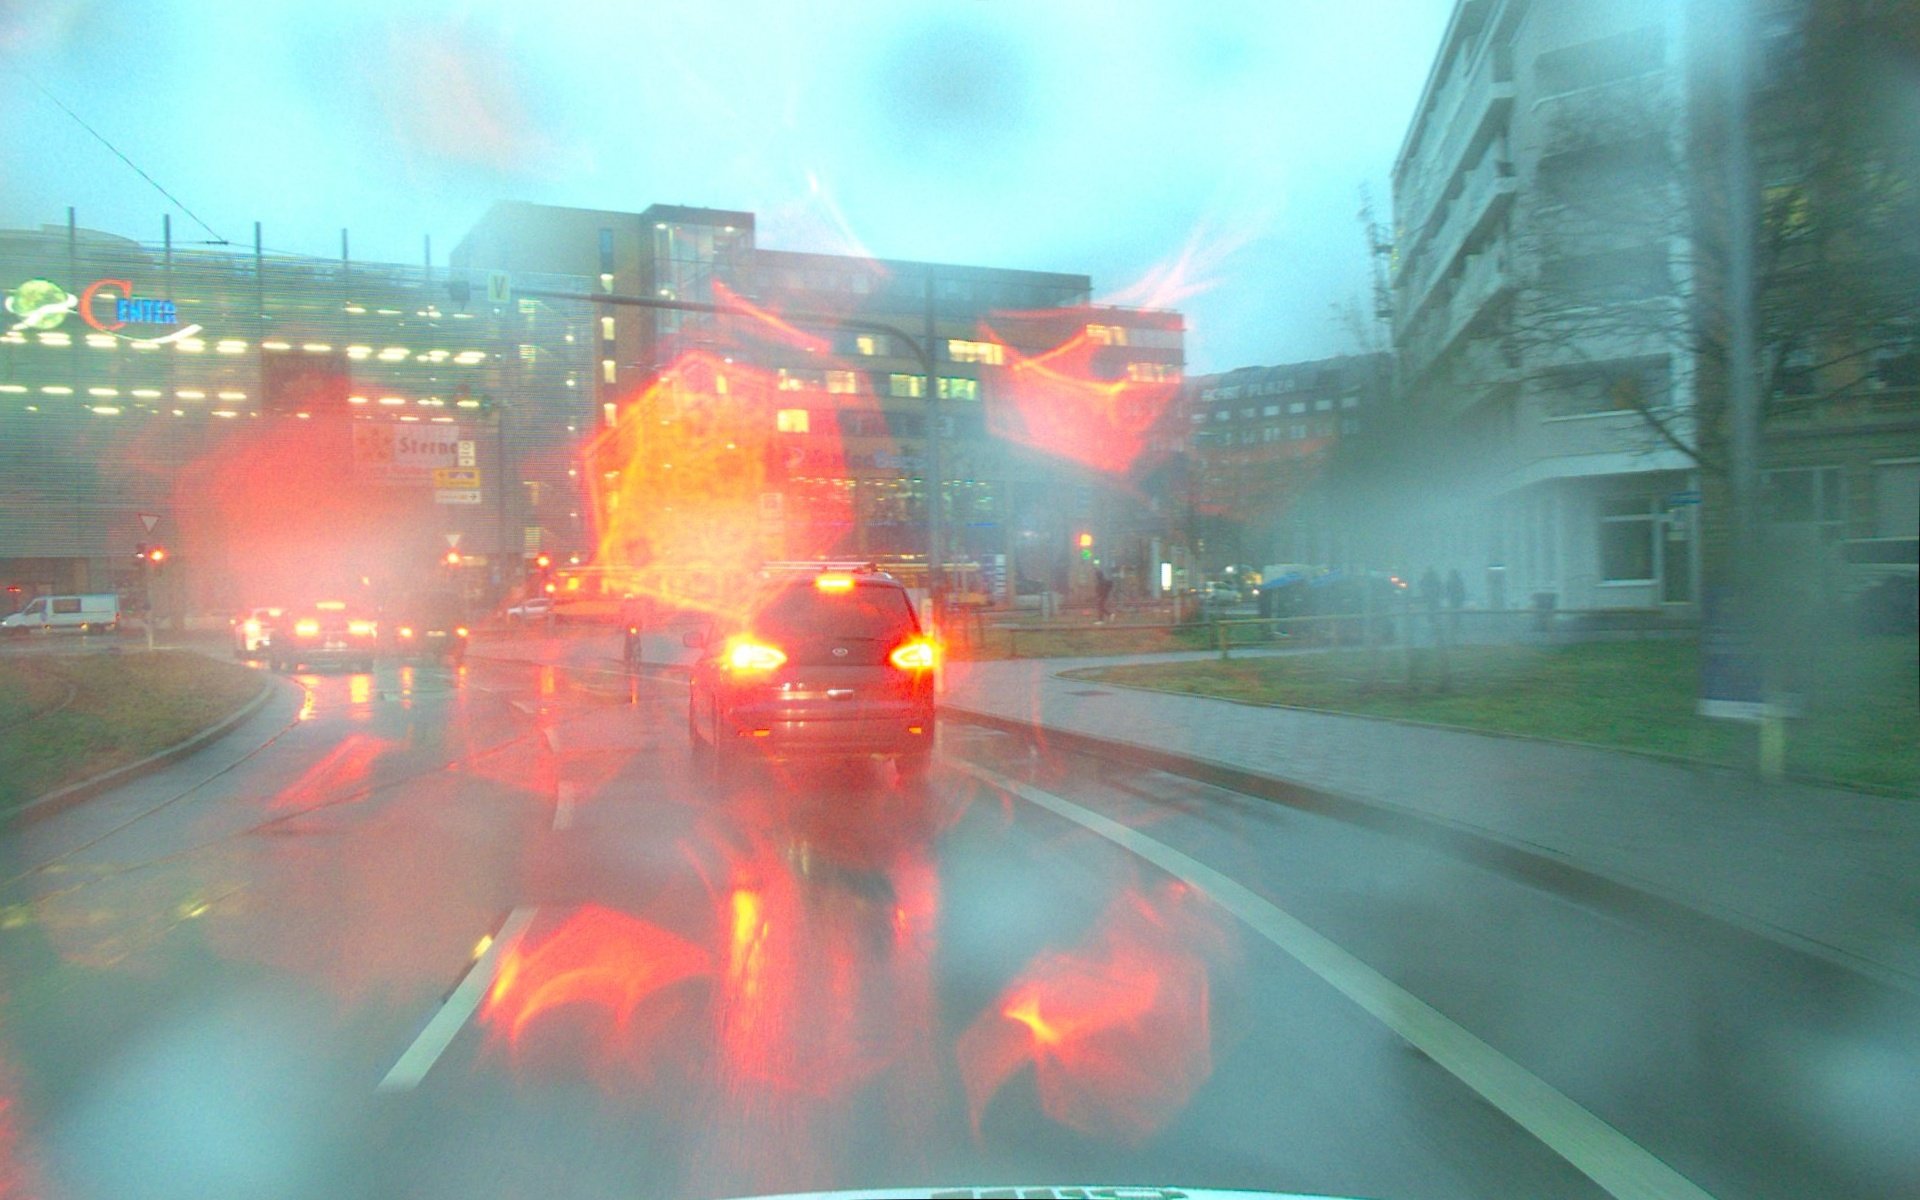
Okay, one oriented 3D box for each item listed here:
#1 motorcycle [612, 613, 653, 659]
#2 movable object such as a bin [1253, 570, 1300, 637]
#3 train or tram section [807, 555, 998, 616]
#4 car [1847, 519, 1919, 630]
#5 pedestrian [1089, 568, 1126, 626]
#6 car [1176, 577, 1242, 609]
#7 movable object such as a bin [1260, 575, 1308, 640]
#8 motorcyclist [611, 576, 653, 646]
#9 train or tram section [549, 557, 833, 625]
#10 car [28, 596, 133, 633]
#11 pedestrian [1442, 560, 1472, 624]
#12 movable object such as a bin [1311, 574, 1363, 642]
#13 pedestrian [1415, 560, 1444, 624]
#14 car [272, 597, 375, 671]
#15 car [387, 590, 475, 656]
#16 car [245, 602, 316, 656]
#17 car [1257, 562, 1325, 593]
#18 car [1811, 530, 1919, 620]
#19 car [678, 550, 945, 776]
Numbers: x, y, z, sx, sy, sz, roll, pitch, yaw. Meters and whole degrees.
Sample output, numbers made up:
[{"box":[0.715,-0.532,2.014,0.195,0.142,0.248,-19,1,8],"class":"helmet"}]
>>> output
[{"box":[-7.578,0.819,38.310,0.837,0.988,1.578,-2,0,-9],"class":"motorcycle"},{"box":[7.518,0.076,39.289,1.005,1.521,1.330,-2,1,13],"class":"movable object such as a bin"},{"box":[-3.249,-0.938,99.657,12.882,3.317,2.302,-2,0,-41],"class":"train or tram section"},{"box":[16.243,-0.476,26.051,3.933,1.664,1.931,-3,0,-23],"class":"car"},{"box":[5.099,-0.091,57.192,1.146,1.958,0.898,1,-1,-2],"class":"pedestrian"},{"box":[16.122,-0.441,107.047,3.954,2.049,1.975,1,-1,-36],"class":"car"},{"box":[7.433,0.162,37.941,0.992,1.440,1.225,-3,0,12],"class":"movable object such as a bin"},{"box":[-7.592,0.252,38.312,0.852,1.561,1.106,-1,0,-9],"class":"motorcyclist"},{"box":[-14.297,-0.582,90.319,16.508,3.317,2.302,-2,0,-41],"class":"train or tram section"},{"box":[-48.637,0.818,91.519,5.027,1.996,1.871,1,-1,-31],"class":"car"},{"box":[13.795,-0.225,45.951,0.661,1.744,0.630,1,-1,4],"class":"pedestrian"},{"box":[8.573,0.182,37.579,1.013,1.516,1.040,1,-1,21],"class":"movable object such as a bin"},{"box":[13.056,-0.224,45.994,0.661,1.744,0.606,1,-1,4],"class":"pedestrian"},{"box":[-15.065,0.781,39.014,1.734,1.601,3.961,-2,0,-29],"class":"car"},{"box":[-14.653,0.633,45.718,1.618,1.727,3.634,0,-1,-29],"class":"car"},{"box":[-20.369,0.848,49.497,1.860,1.512,3.970,-2,0,-24],"class":"car"},{"box":[22.649,-1.516,113.136,4.901,2.049,1.972,1,-1,-40],"class":"car"},{"box":[21.594,-0.522,36.623,4.654,1.952,1.992,0,-1,37],"class":"car"},{"box":[-1.511,0.519,15.209,1.706,1.769,4.229,1,-1,-15],"class":"car"}]
